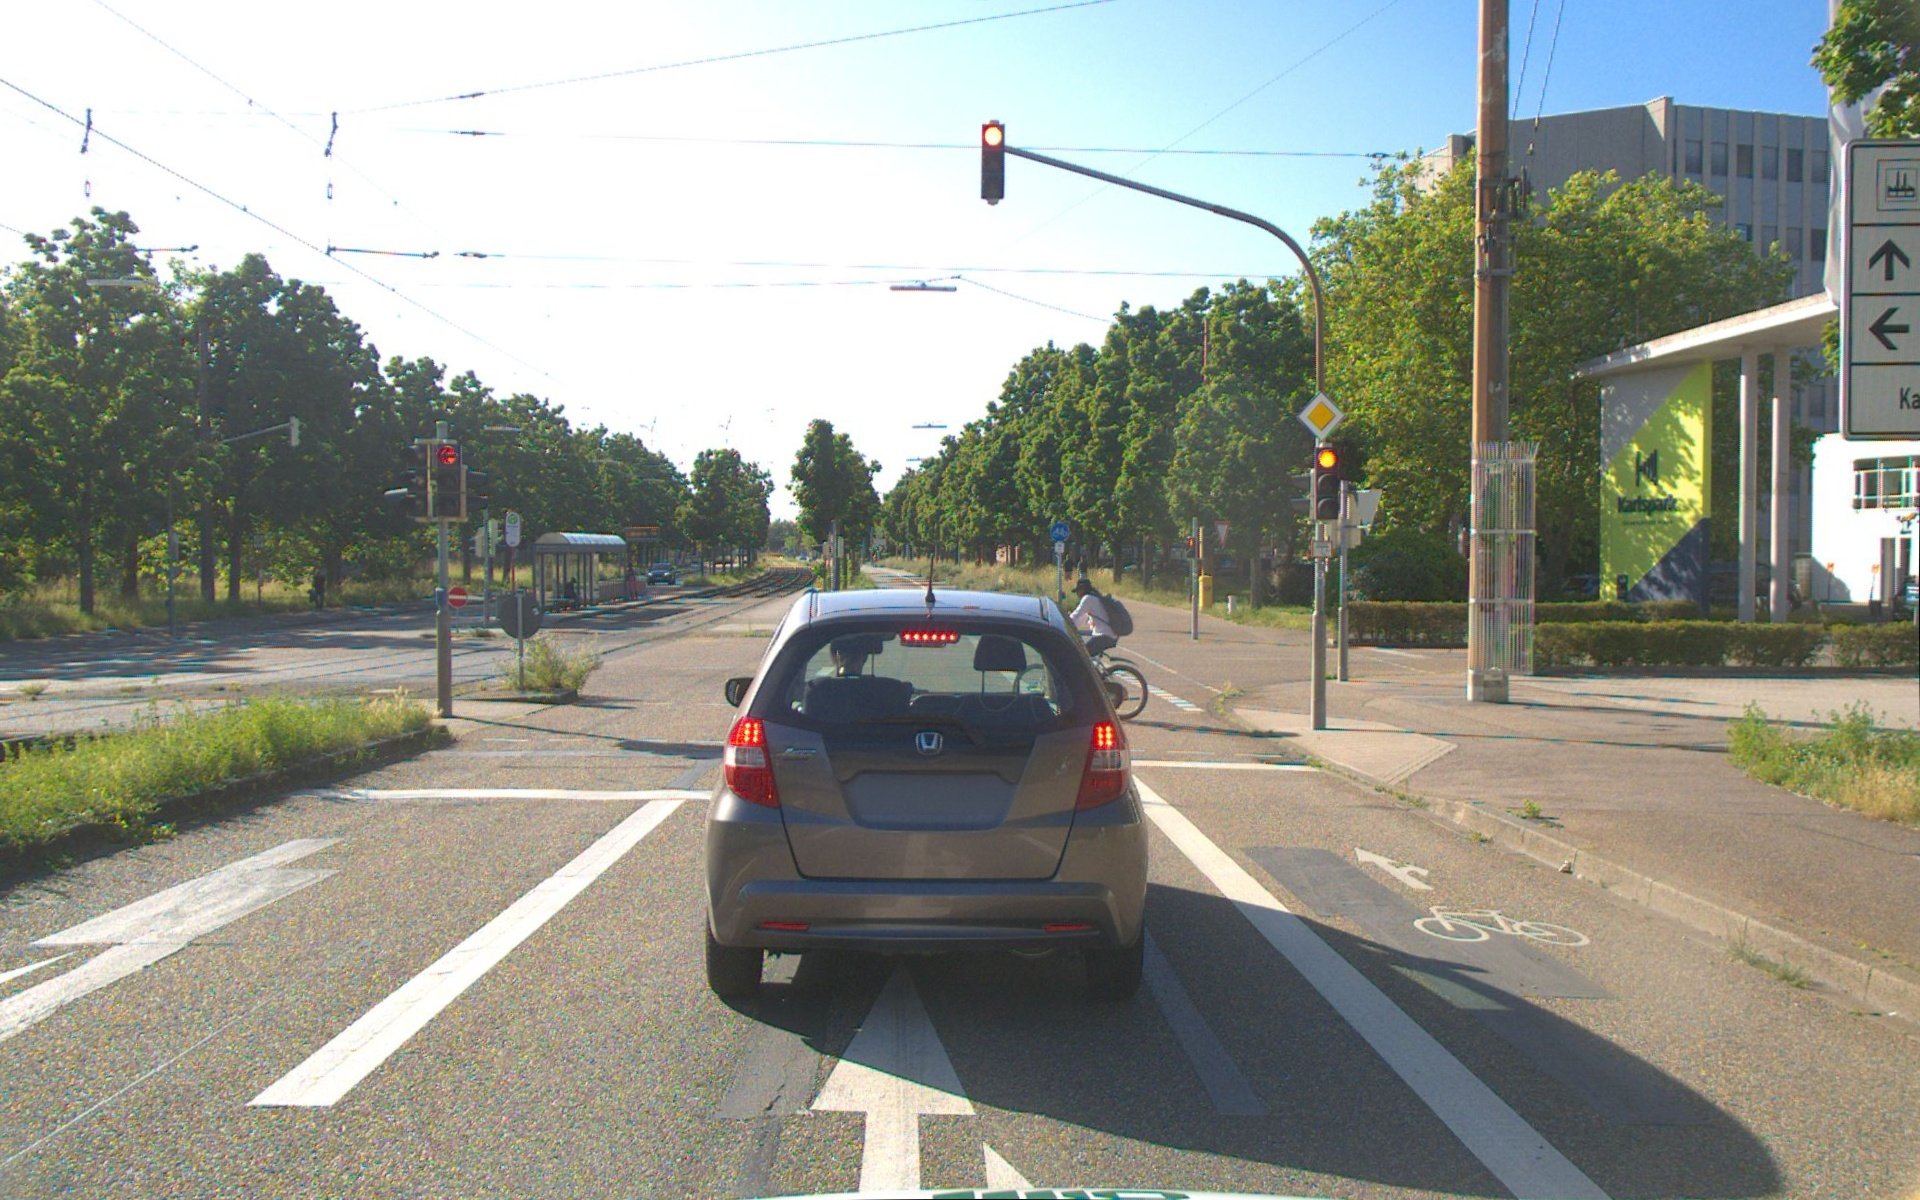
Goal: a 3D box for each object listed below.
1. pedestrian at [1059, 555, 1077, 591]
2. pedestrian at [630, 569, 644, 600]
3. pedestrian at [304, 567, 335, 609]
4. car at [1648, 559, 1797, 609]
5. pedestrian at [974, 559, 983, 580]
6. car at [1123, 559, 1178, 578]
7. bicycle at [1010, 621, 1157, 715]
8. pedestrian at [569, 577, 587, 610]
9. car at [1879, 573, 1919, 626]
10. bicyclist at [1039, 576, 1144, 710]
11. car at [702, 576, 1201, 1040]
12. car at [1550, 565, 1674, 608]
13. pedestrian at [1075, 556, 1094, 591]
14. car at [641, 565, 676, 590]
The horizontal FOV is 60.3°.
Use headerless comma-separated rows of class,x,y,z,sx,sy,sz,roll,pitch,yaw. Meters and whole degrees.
pedestrian,5.873,-1.473,90.207,0.865,1.917,0.875,0,1,-5
pedestrian,-15.584,-0.764,79.858,0.533,1.473,0.559,-1,0,-1
pedestrian,-26.870,-0.514,69.360,0.744,1.764,0.936,0,1,27
car,28.002,-0.619,60.765,4.803,1.787,2.083,0,1,-16
pedestrian,1.546,-2.530,138.736,0.710,1.720,0.820,0,-1,-3
car,16.670,-2.745,144.831,4.543,1.582,1.997,-1,1,-7
bicycle,1.519,0.839,20.521,1.739,1.121,0.698,0,0,-2
pedestrian,-15.094,-0.264,65.305,0.552,1.279,0.580,-2,0,-2
car,30.634,-0.026,50.738,3.914,1.605,1.950,0,1,-10
bicyclist,1.614,0.521,20.509,1.208,1.621,0.805,0,0,-2
car,-0.053,0.698,7.425,1.666,1.550,3.709,1,0,-1
car,26.636,-0.552,67.607,4.371,1.715,1.892,0,1,-7
pedestrian,6.794,-1.457,90.238,0.865,1.917,0.875,0,1,-5
car,-23.872,-1.794,131.281,2.052,1.841,4.791,-2,2,-3
